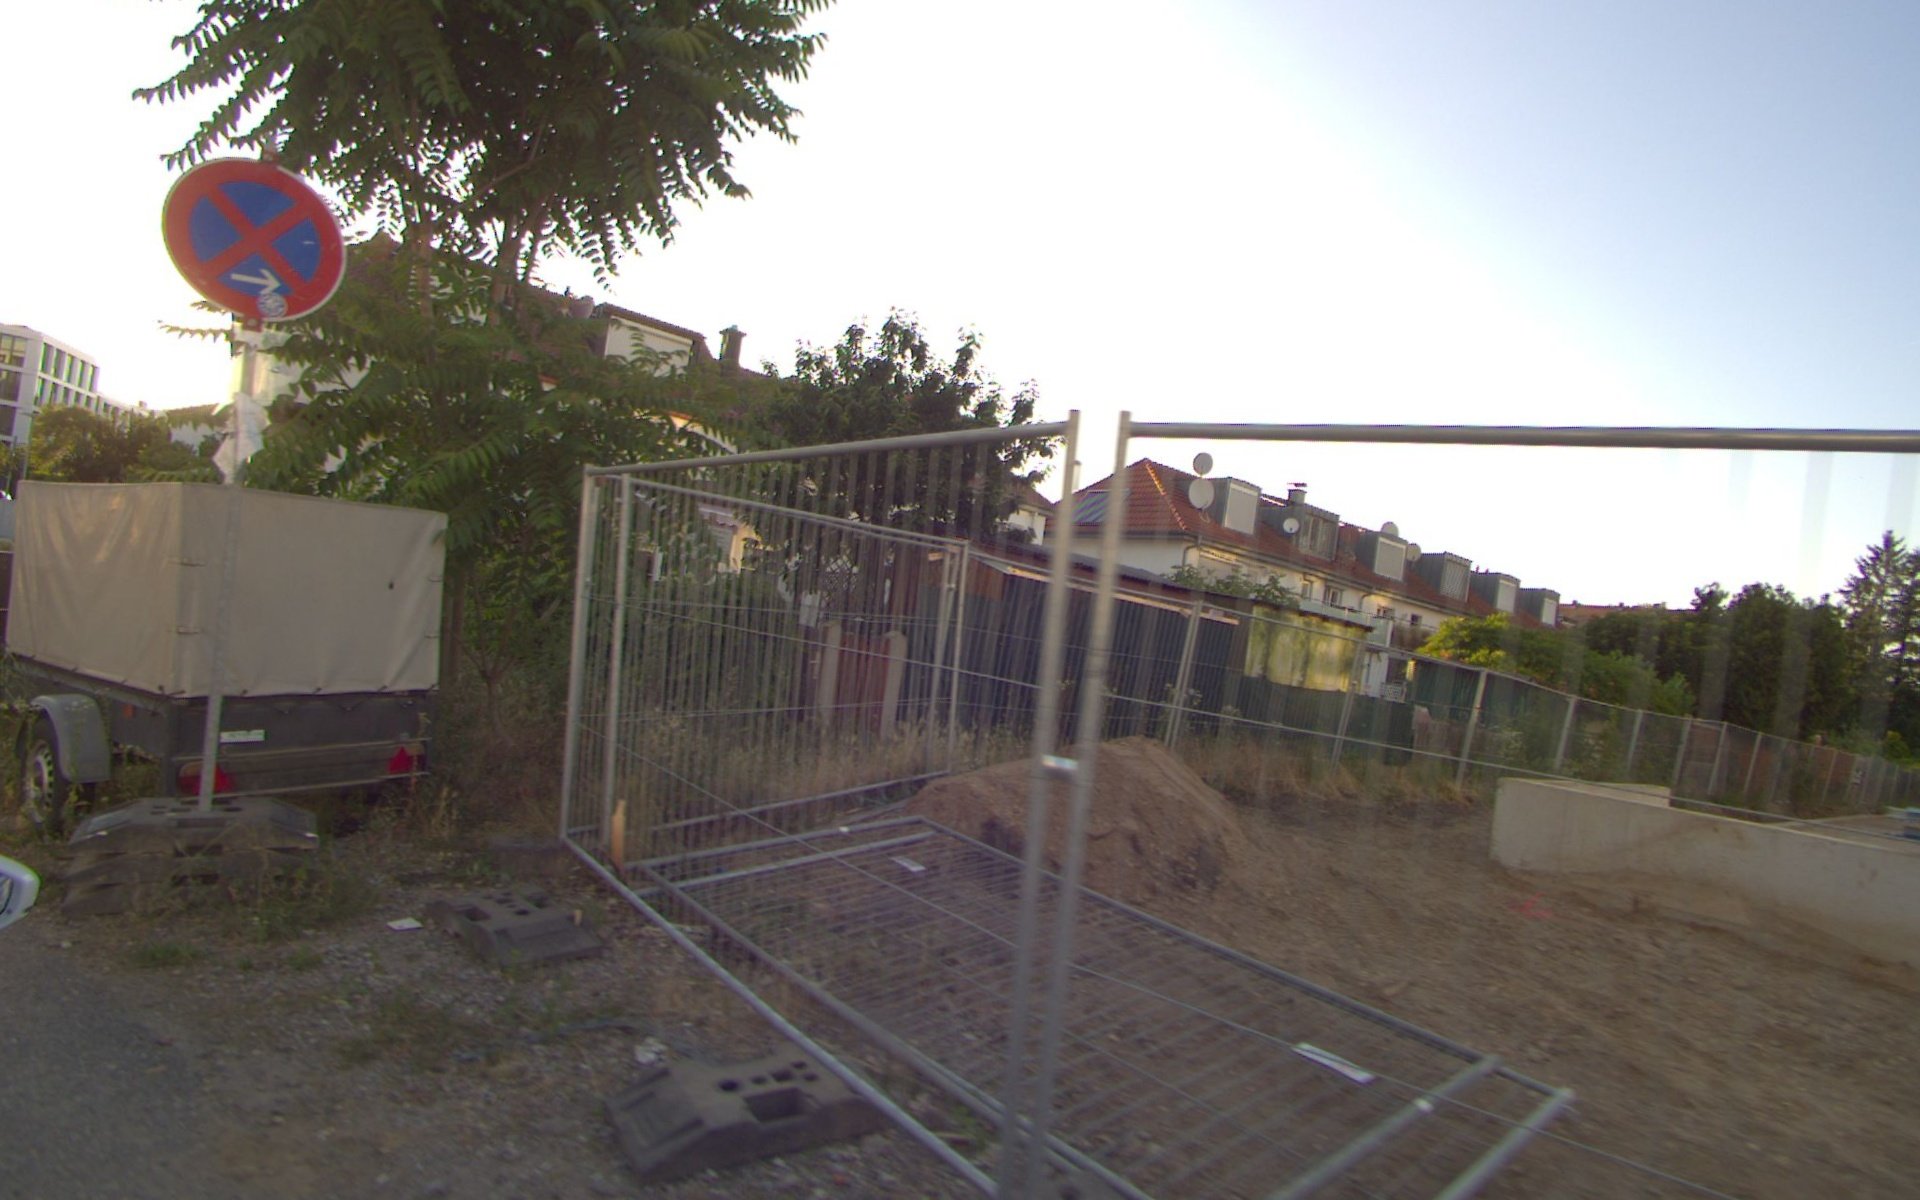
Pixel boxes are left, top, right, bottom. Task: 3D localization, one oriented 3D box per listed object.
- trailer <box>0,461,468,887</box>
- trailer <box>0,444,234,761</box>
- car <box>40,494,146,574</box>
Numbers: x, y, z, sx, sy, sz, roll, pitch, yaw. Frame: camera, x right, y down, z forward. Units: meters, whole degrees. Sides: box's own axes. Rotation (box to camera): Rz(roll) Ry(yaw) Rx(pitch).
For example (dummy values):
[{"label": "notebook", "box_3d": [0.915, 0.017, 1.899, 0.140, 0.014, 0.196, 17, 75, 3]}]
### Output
[{"label": "trailer", "box_3d": [-4.084, 0.240, 5.335, 2.757, 1.686, 1.252, 7, 0, 32]}, {"label": "trailer", "box_3d": [-7.241, -0.173, 7.344, 4.863, 1.799, 1.730, 6, 0, 38]}, {"label": "car", "box_3d": [-20.707, -1.521, 24.146, 1.629, 1.536, 3.863, 8, -4, -39]}]
